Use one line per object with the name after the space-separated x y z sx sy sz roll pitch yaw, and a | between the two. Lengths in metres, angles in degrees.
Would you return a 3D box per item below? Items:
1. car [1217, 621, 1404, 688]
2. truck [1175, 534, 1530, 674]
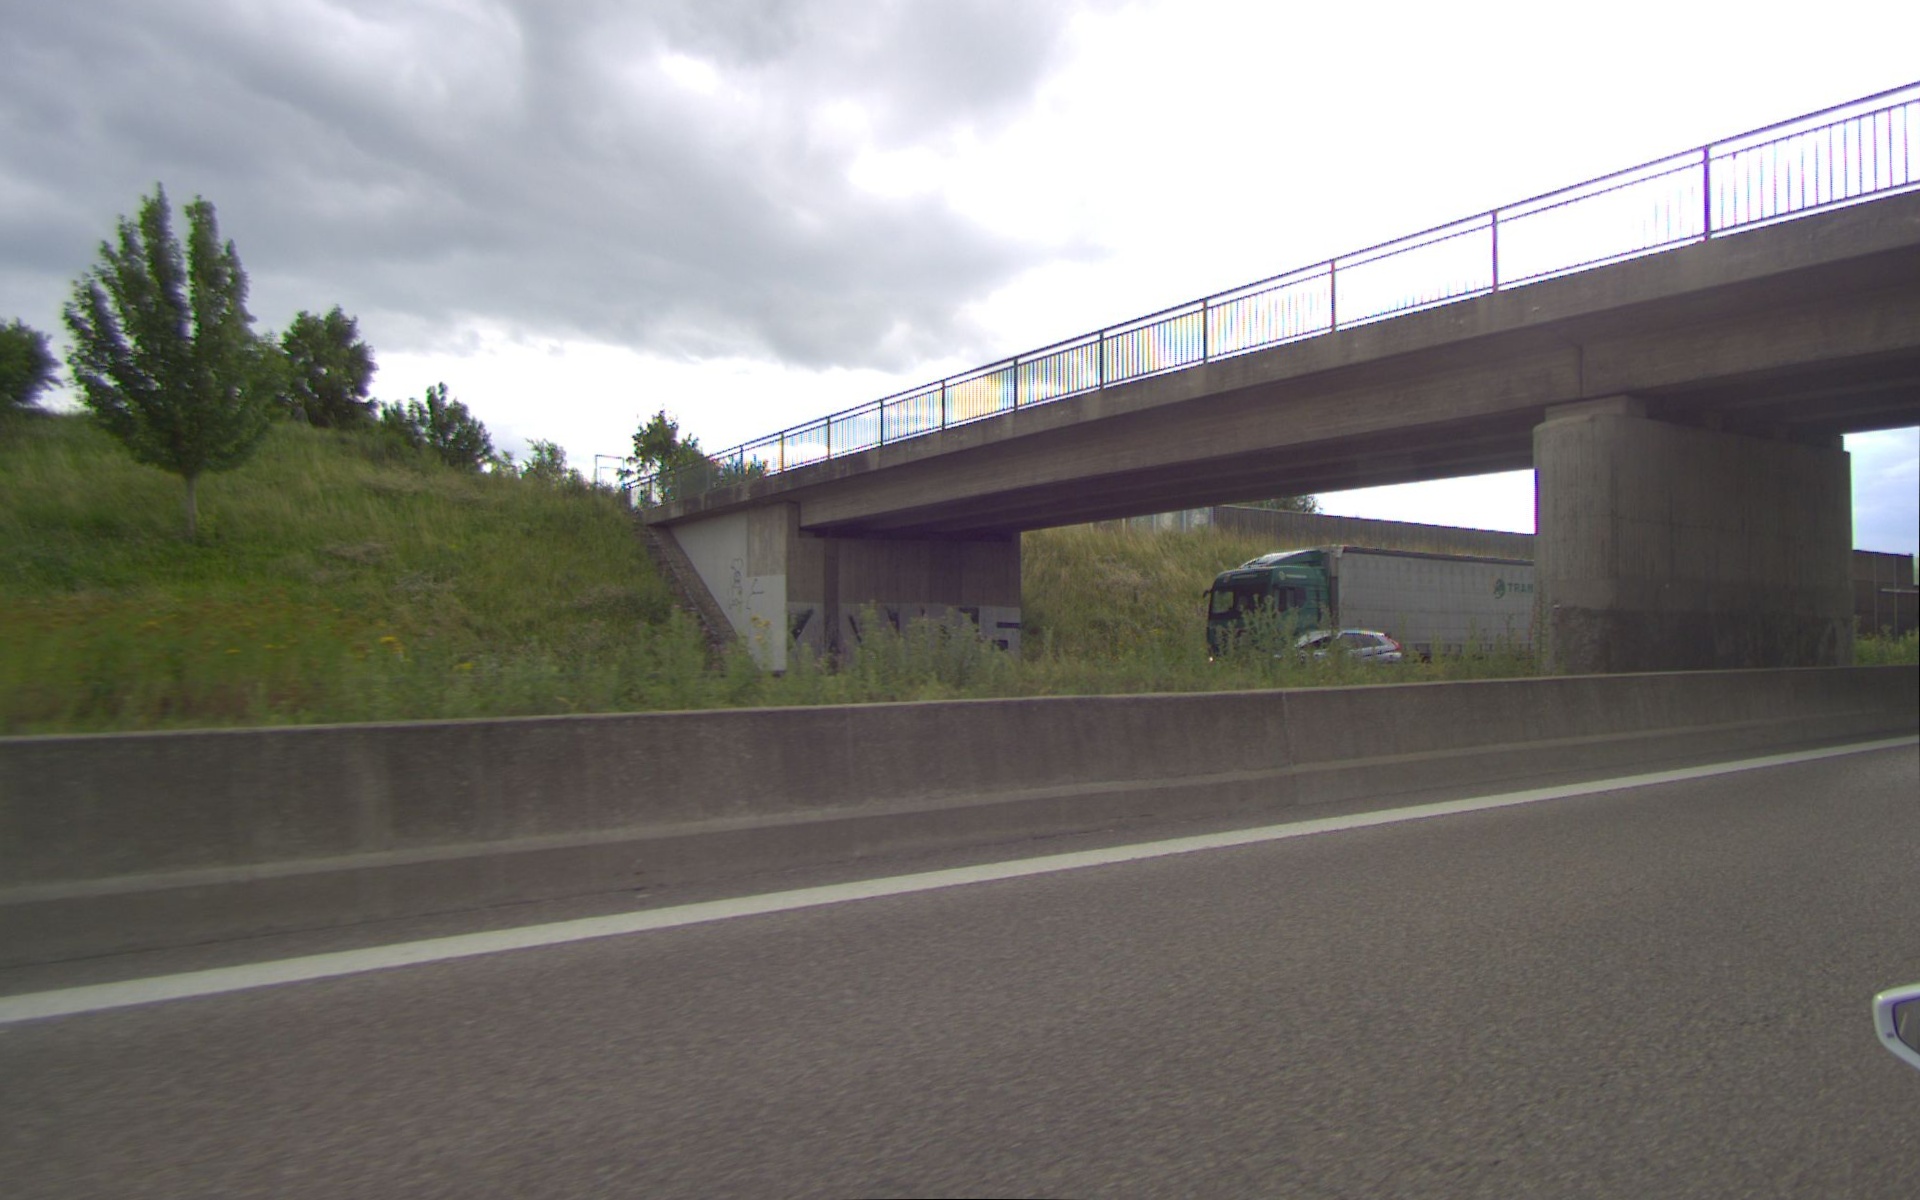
8.653 1.285 24.628 4.870 1.504 1.717 1 -2 -33 | car
12.573 0.262 31.271 12.856 3.732 2.983 2 -1 -31 | truck
